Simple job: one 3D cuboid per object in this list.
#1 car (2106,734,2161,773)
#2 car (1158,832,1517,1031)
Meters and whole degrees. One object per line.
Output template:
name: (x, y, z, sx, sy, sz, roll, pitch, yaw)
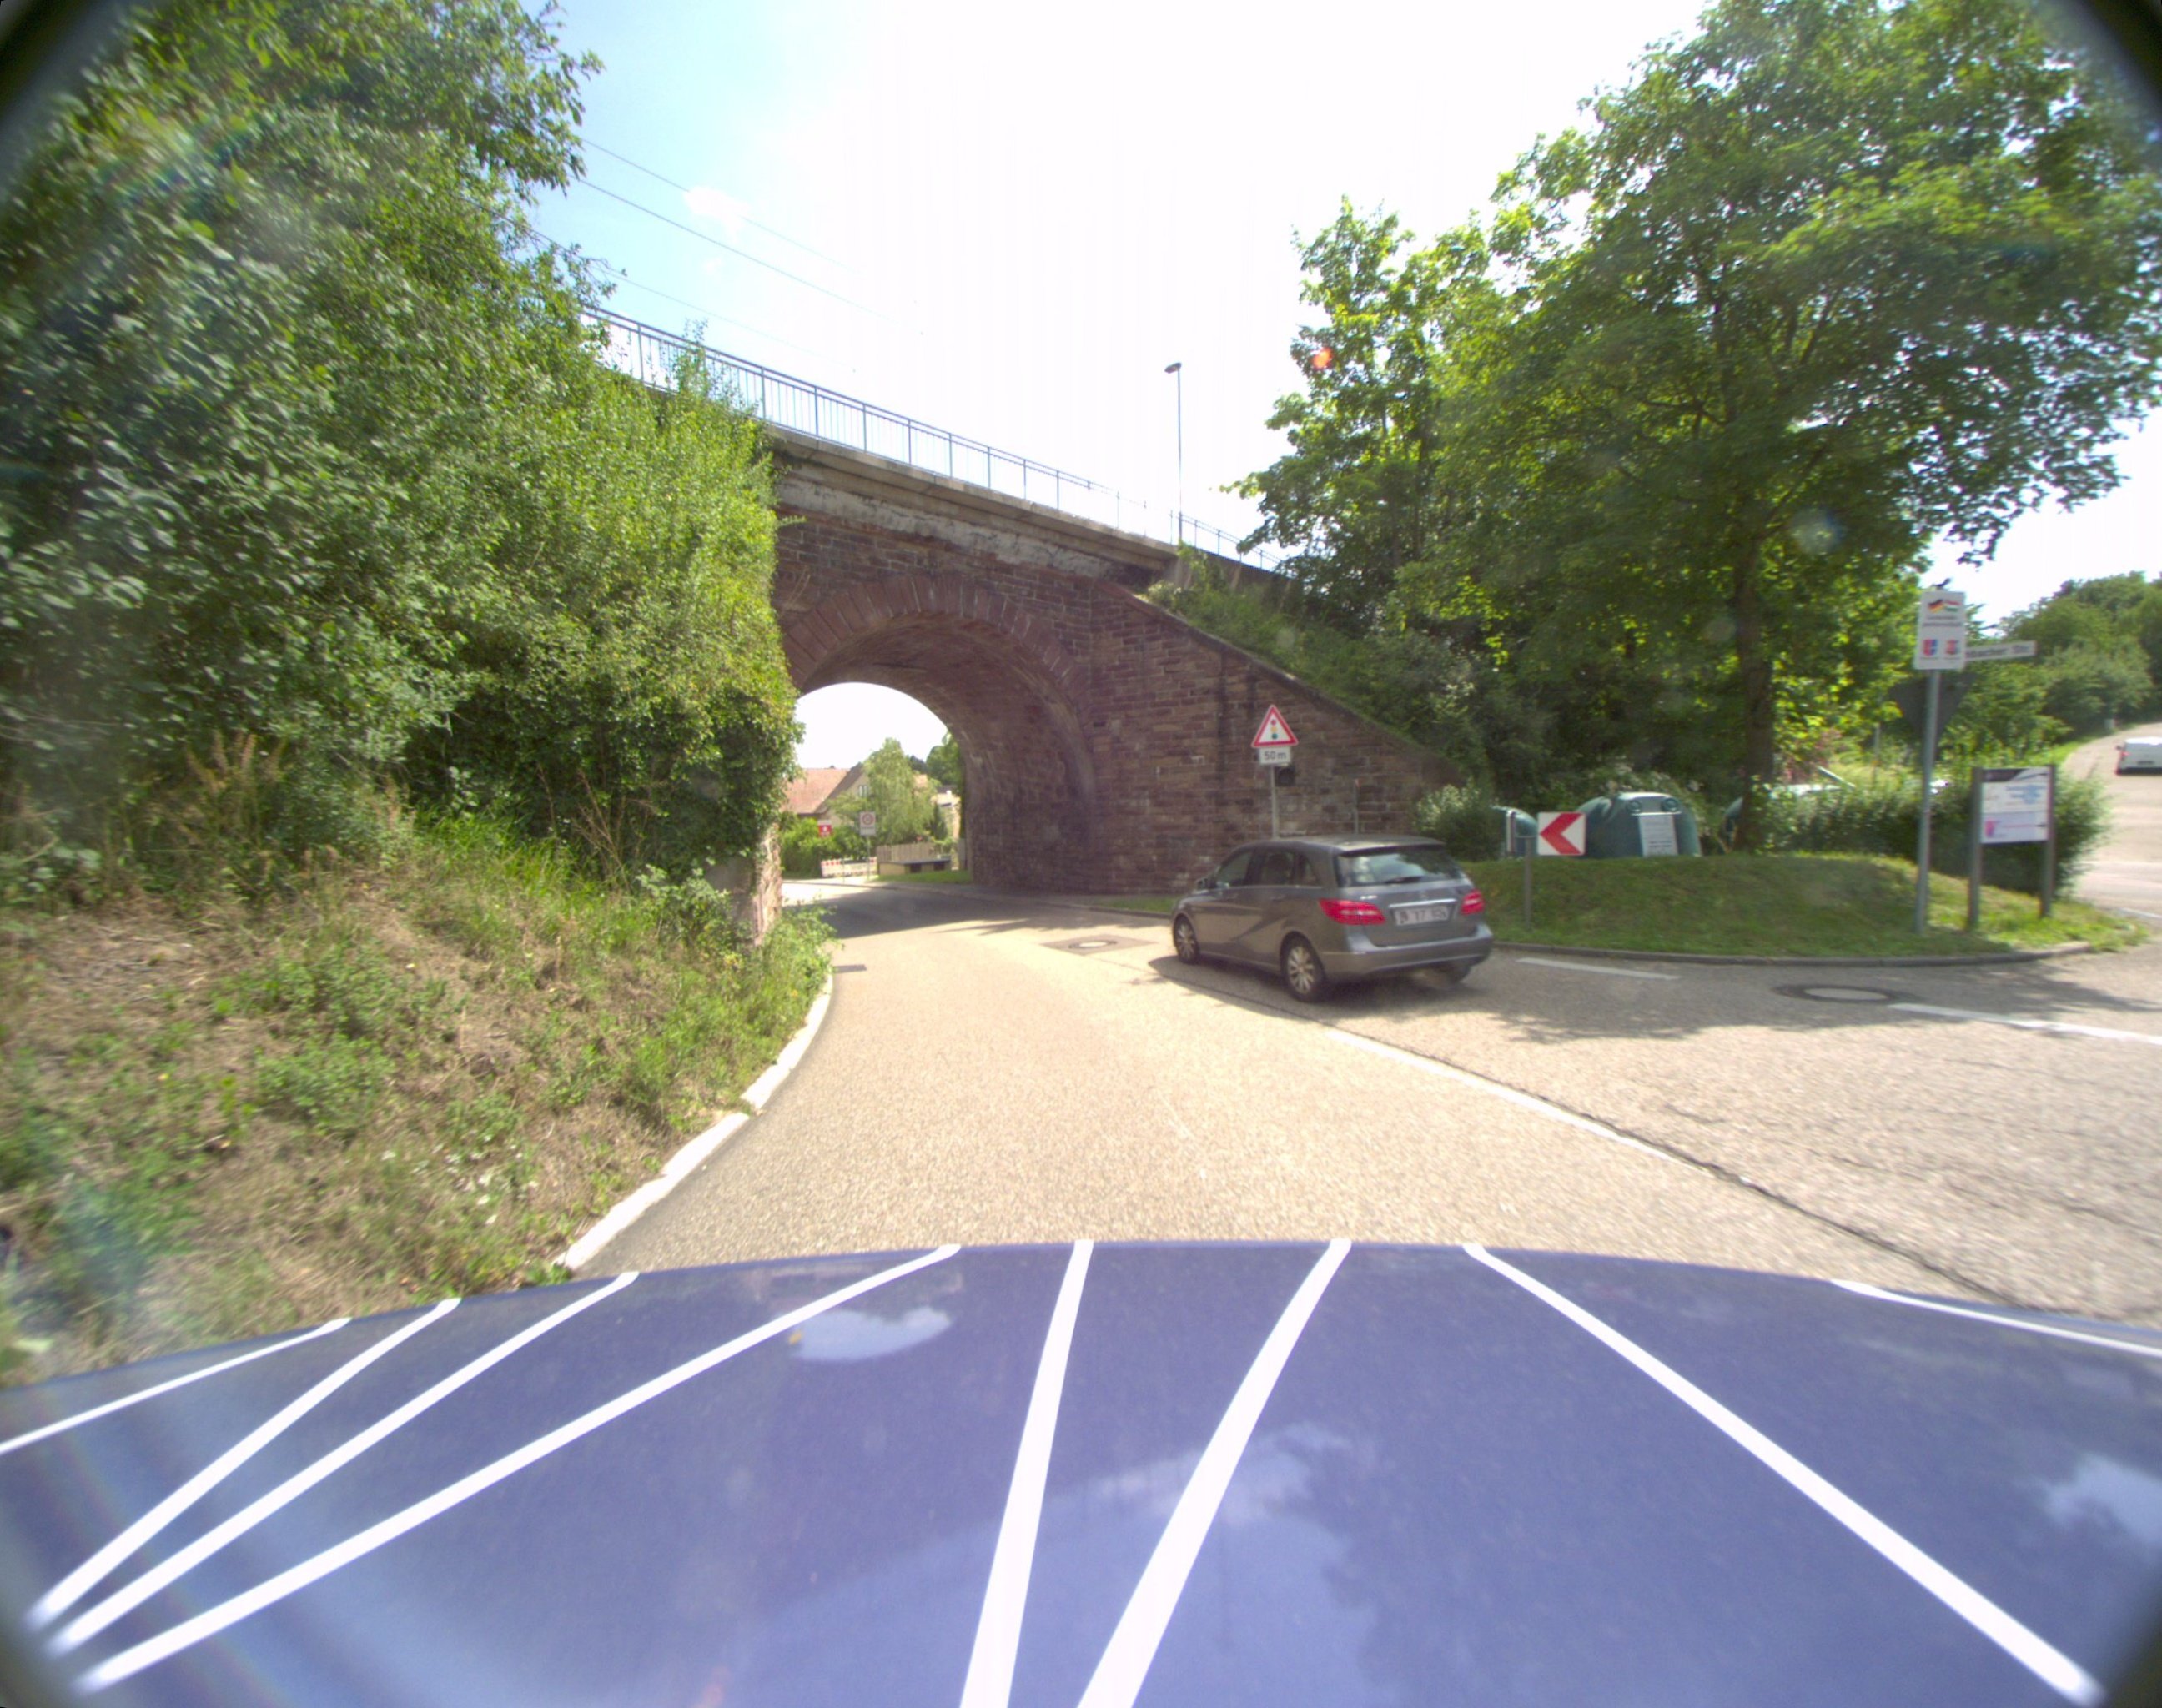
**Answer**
car: (64.933, -6.126, 46.649, 4.720, 2.002, 1.995, -3, 1, -41)
car: (2.439, 0.669, 8.455, 1.725, 1.546, 4.124, -4, 0, -15)
